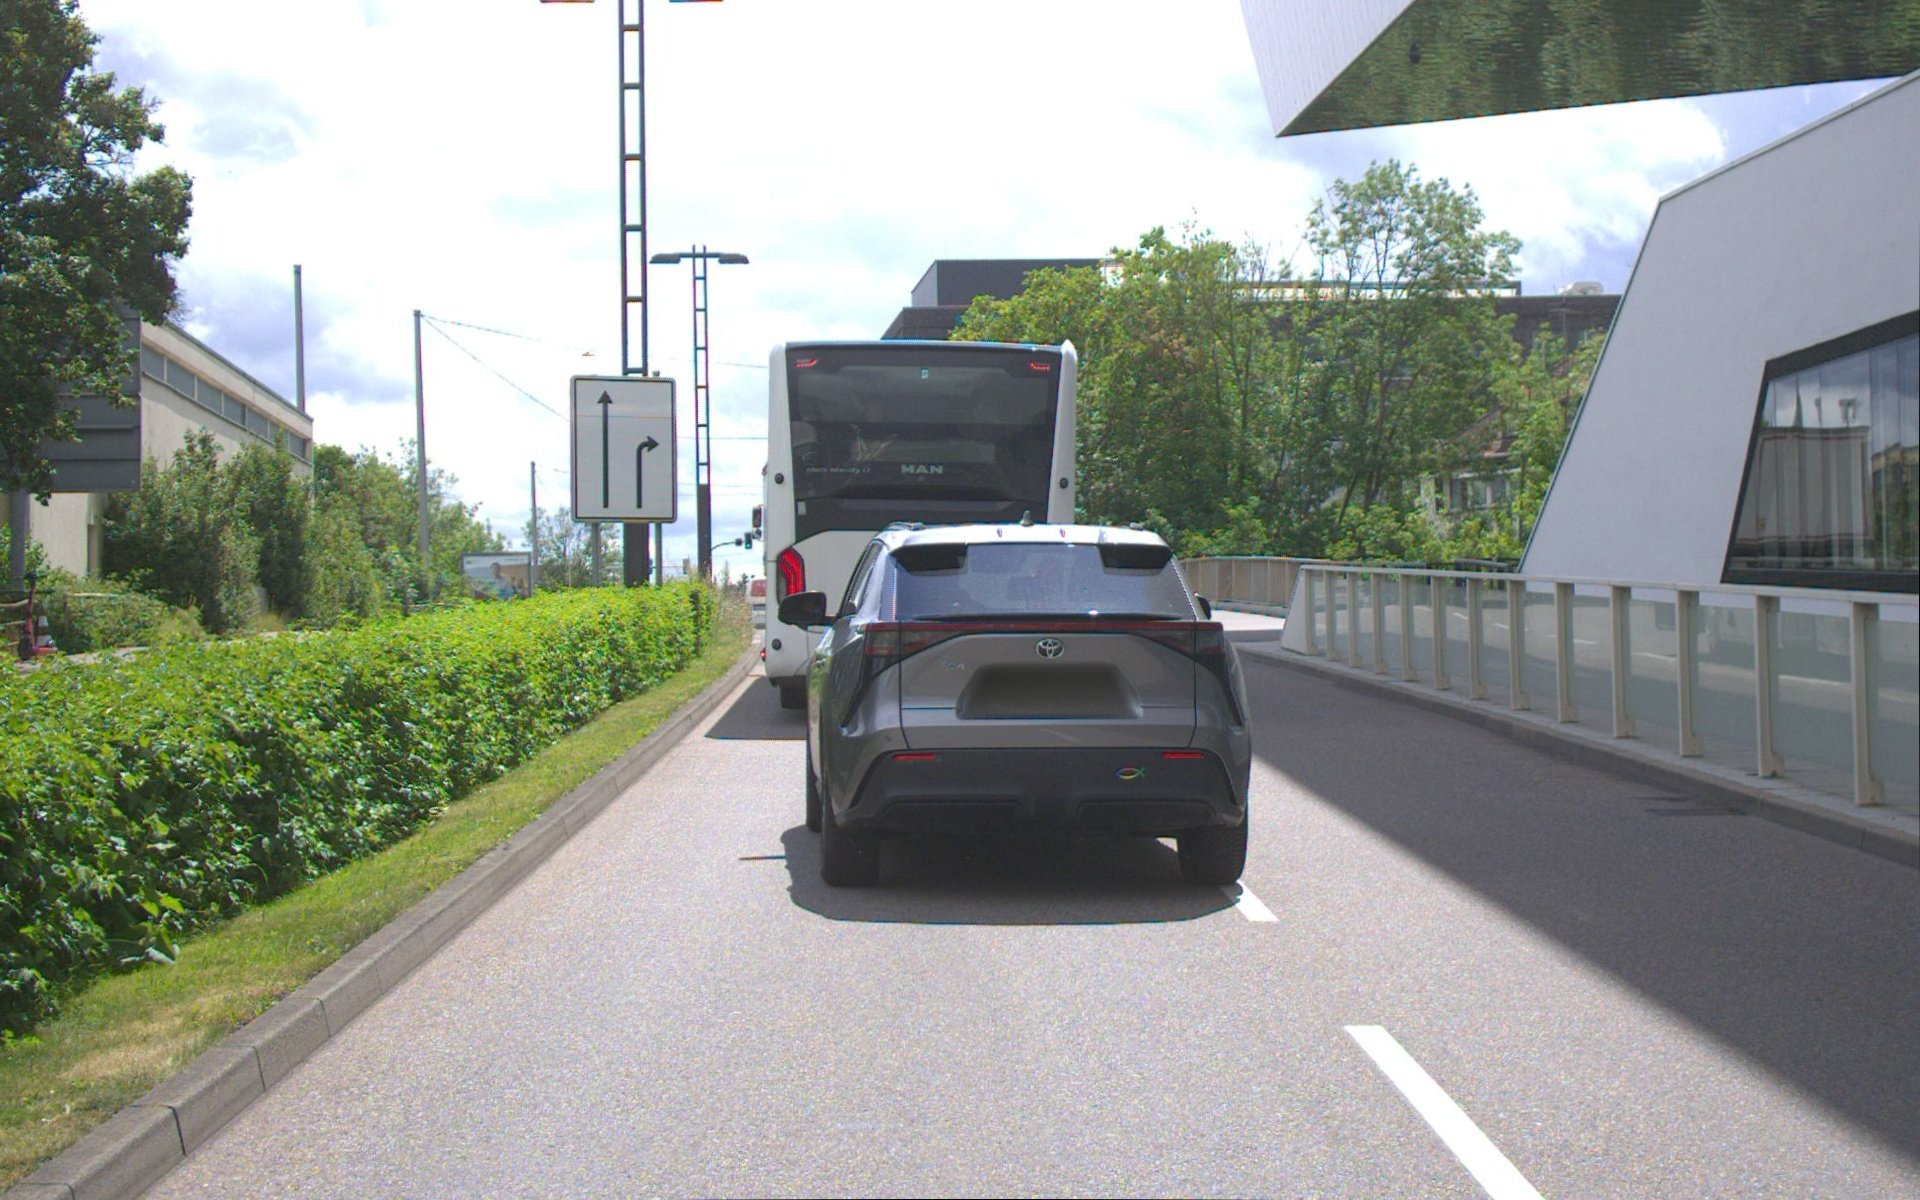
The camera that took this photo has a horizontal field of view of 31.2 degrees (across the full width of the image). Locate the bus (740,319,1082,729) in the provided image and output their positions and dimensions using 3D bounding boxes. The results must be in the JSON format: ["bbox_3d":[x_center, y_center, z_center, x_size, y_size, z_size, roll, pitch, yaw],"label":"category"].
[{"bbox_3d":[-0.428,-0.782,33.490,2.689,3.244,12.058,1,2,0],"label":"bus"}]

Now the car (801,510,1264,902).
[{"bbox_3d":[0.234,0.416,16.148,1.879,1.588,4.230,0,0,-2],"label":"car"}]

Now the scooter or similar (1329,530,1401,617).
[{"bbox_3d":[5.818,-0.378,49.425,0.653,1.210,1.858,-2,1,-4],"label":"scooter or similar"}]

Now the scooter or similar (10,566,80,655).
[{"bbox_3d":[-12.991,0.143,48.845,0.491,1.212,1.643,-1,1,1],"label":"scooter or similar"}]
